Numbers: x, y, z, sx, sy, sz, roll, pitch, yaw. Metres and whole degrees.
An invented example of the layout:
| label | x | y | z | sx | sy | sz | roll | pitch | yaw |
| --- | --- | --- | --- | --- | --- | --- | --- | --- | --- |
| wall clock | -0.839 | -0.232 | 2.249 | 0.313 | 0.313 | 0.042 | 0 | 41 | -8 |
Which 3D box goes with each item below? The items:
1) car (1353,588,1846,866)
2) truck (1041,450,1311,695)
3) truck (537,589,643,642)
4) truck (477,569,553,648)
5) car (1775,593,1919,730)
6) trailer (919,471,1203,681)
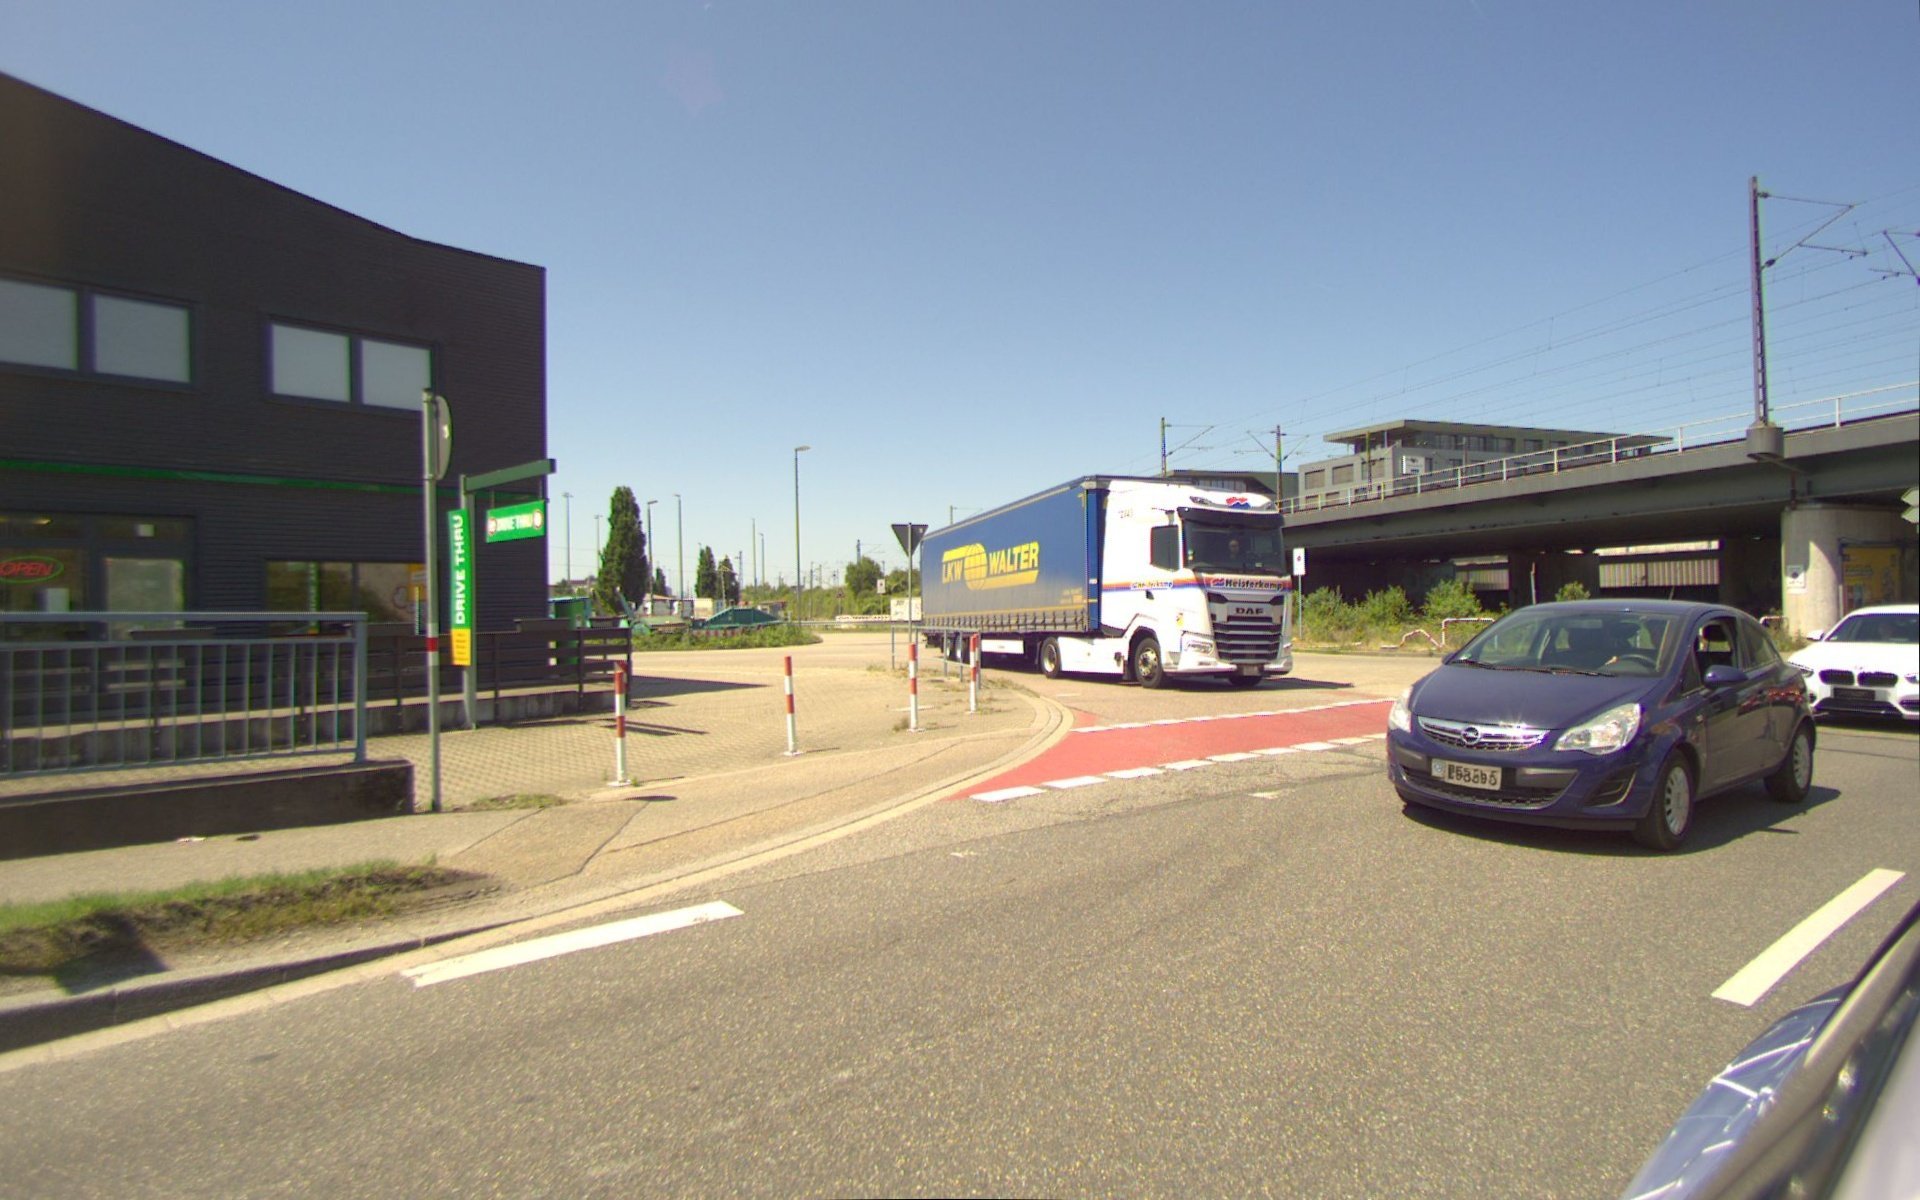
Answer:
| label | x | y | z | sx | sy | sz | roll | pitch | yaw |
| --- | --- | --- | --- | --- | --- | --- | --- | --- | --- |
| car | 4.615 | 0.679 | 7.135 | 3.817 | 1.462 | 1.651 | 1 | -1 | -36 |
| truck | 4.021 | -0.495 | 20.260 | 2.522 | 4.153 | 5.773 | 0 | 0 | -21 |
| truck | -25.281 | 0.994 | 69.578 | 2.767 | 3.411 | 7.510 | 0 | 0 | 19 |
| truck | -21.138 | 0.399 | 47.818 | 2.667 | 3.424 | 7.410 | 0 | 0 | -29 |
| car | 11.888 | 0.676 | 12.456 | 3.974 | 1.461 | 1.765 | 0 | 1 | -34 |
| trailer | 1.797 | -0.404 | 26.995 | 2.447 | 4.142 | 13.931 | 0 | -1 | -16 |
